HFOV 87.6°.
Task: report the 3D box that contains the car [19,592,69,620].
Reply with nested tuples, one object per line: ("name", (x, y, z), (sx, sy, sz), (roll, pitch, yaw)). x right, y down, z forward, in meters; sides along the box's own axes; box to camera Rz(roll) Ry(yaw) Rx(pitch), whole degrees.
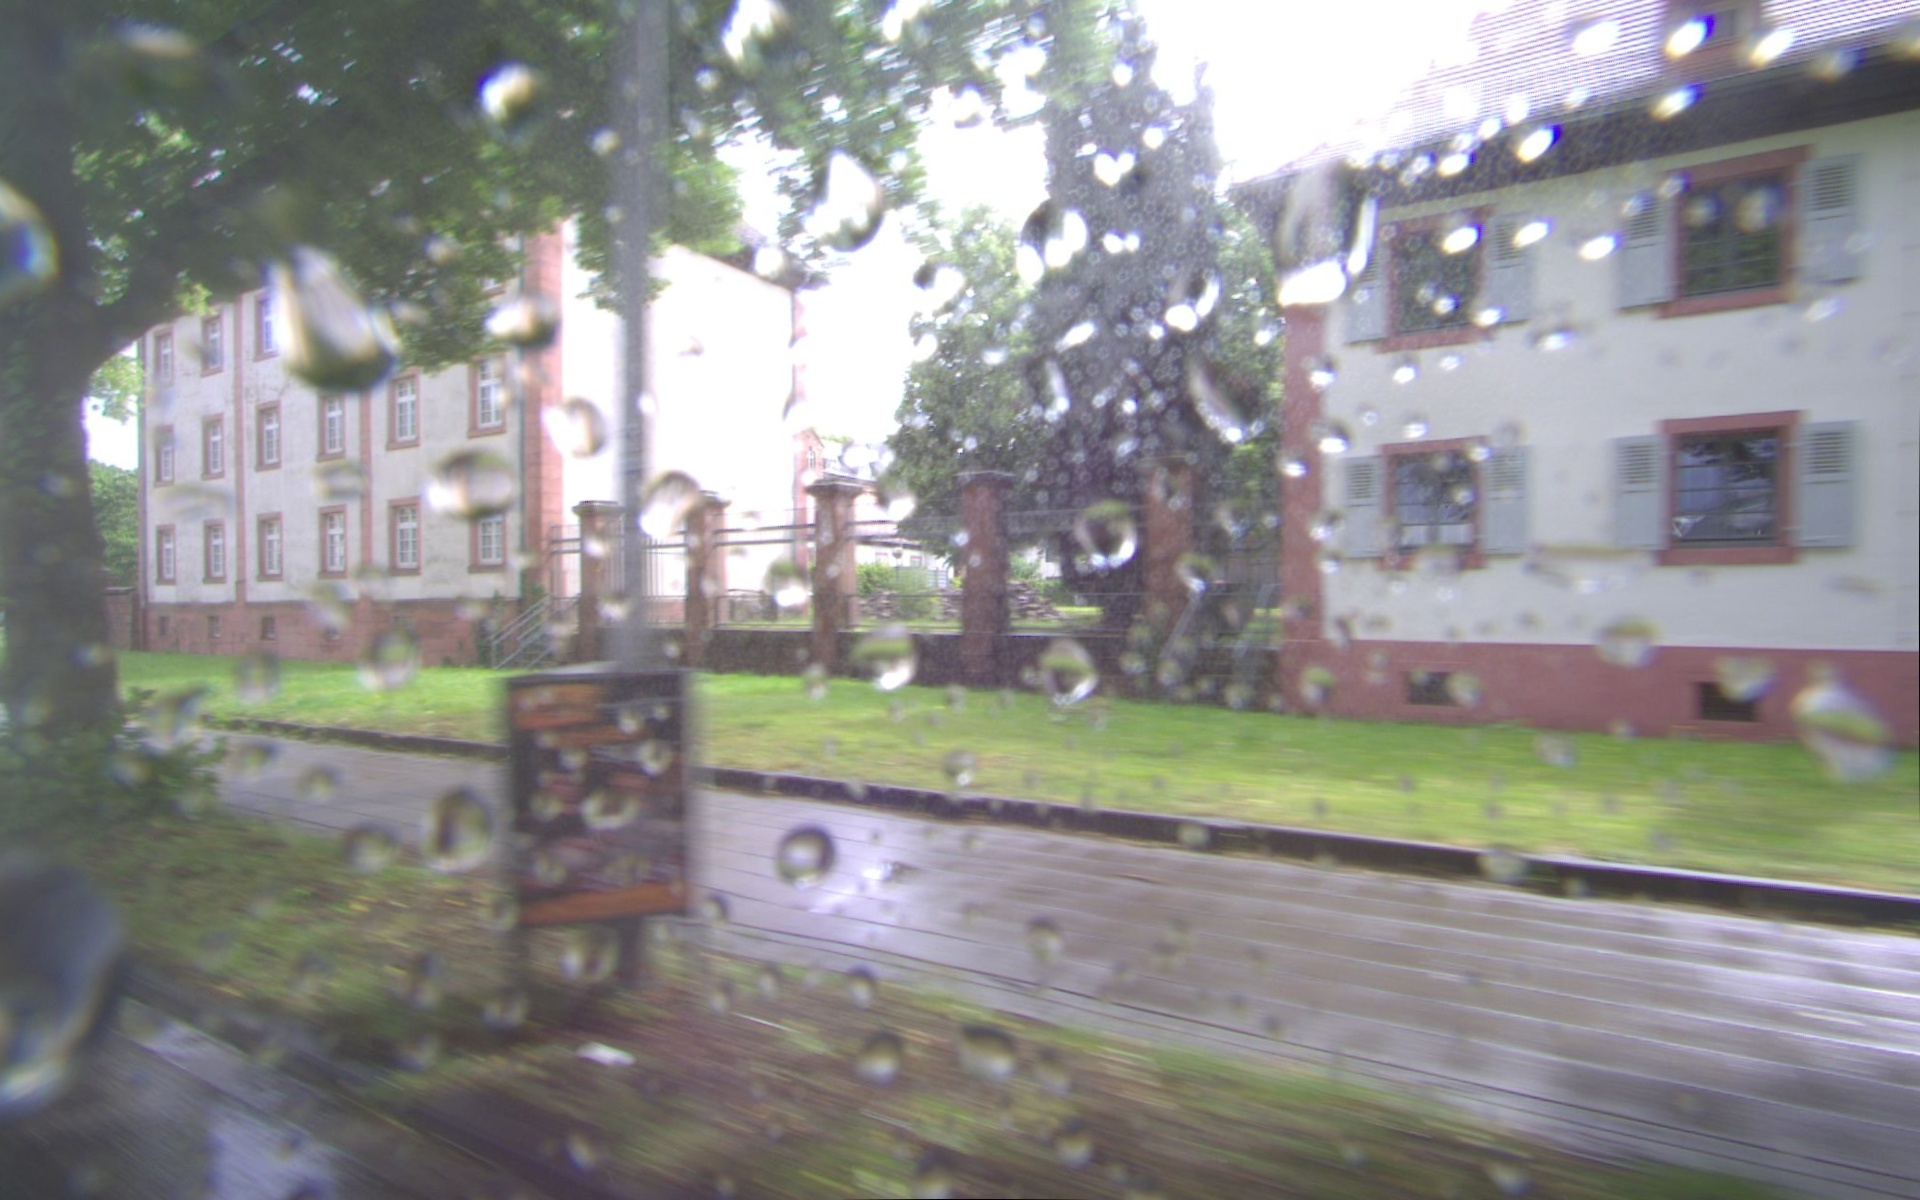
("car", (-69.178, 0.448, 75.572), (3.948, 2.041, 1.986), (0, 3, 37))

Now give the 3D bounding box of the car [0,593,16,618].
("car", (-74.736, 0.423, 77.378), (3.760, 1.882, 1.860), (0, 3, 37))
